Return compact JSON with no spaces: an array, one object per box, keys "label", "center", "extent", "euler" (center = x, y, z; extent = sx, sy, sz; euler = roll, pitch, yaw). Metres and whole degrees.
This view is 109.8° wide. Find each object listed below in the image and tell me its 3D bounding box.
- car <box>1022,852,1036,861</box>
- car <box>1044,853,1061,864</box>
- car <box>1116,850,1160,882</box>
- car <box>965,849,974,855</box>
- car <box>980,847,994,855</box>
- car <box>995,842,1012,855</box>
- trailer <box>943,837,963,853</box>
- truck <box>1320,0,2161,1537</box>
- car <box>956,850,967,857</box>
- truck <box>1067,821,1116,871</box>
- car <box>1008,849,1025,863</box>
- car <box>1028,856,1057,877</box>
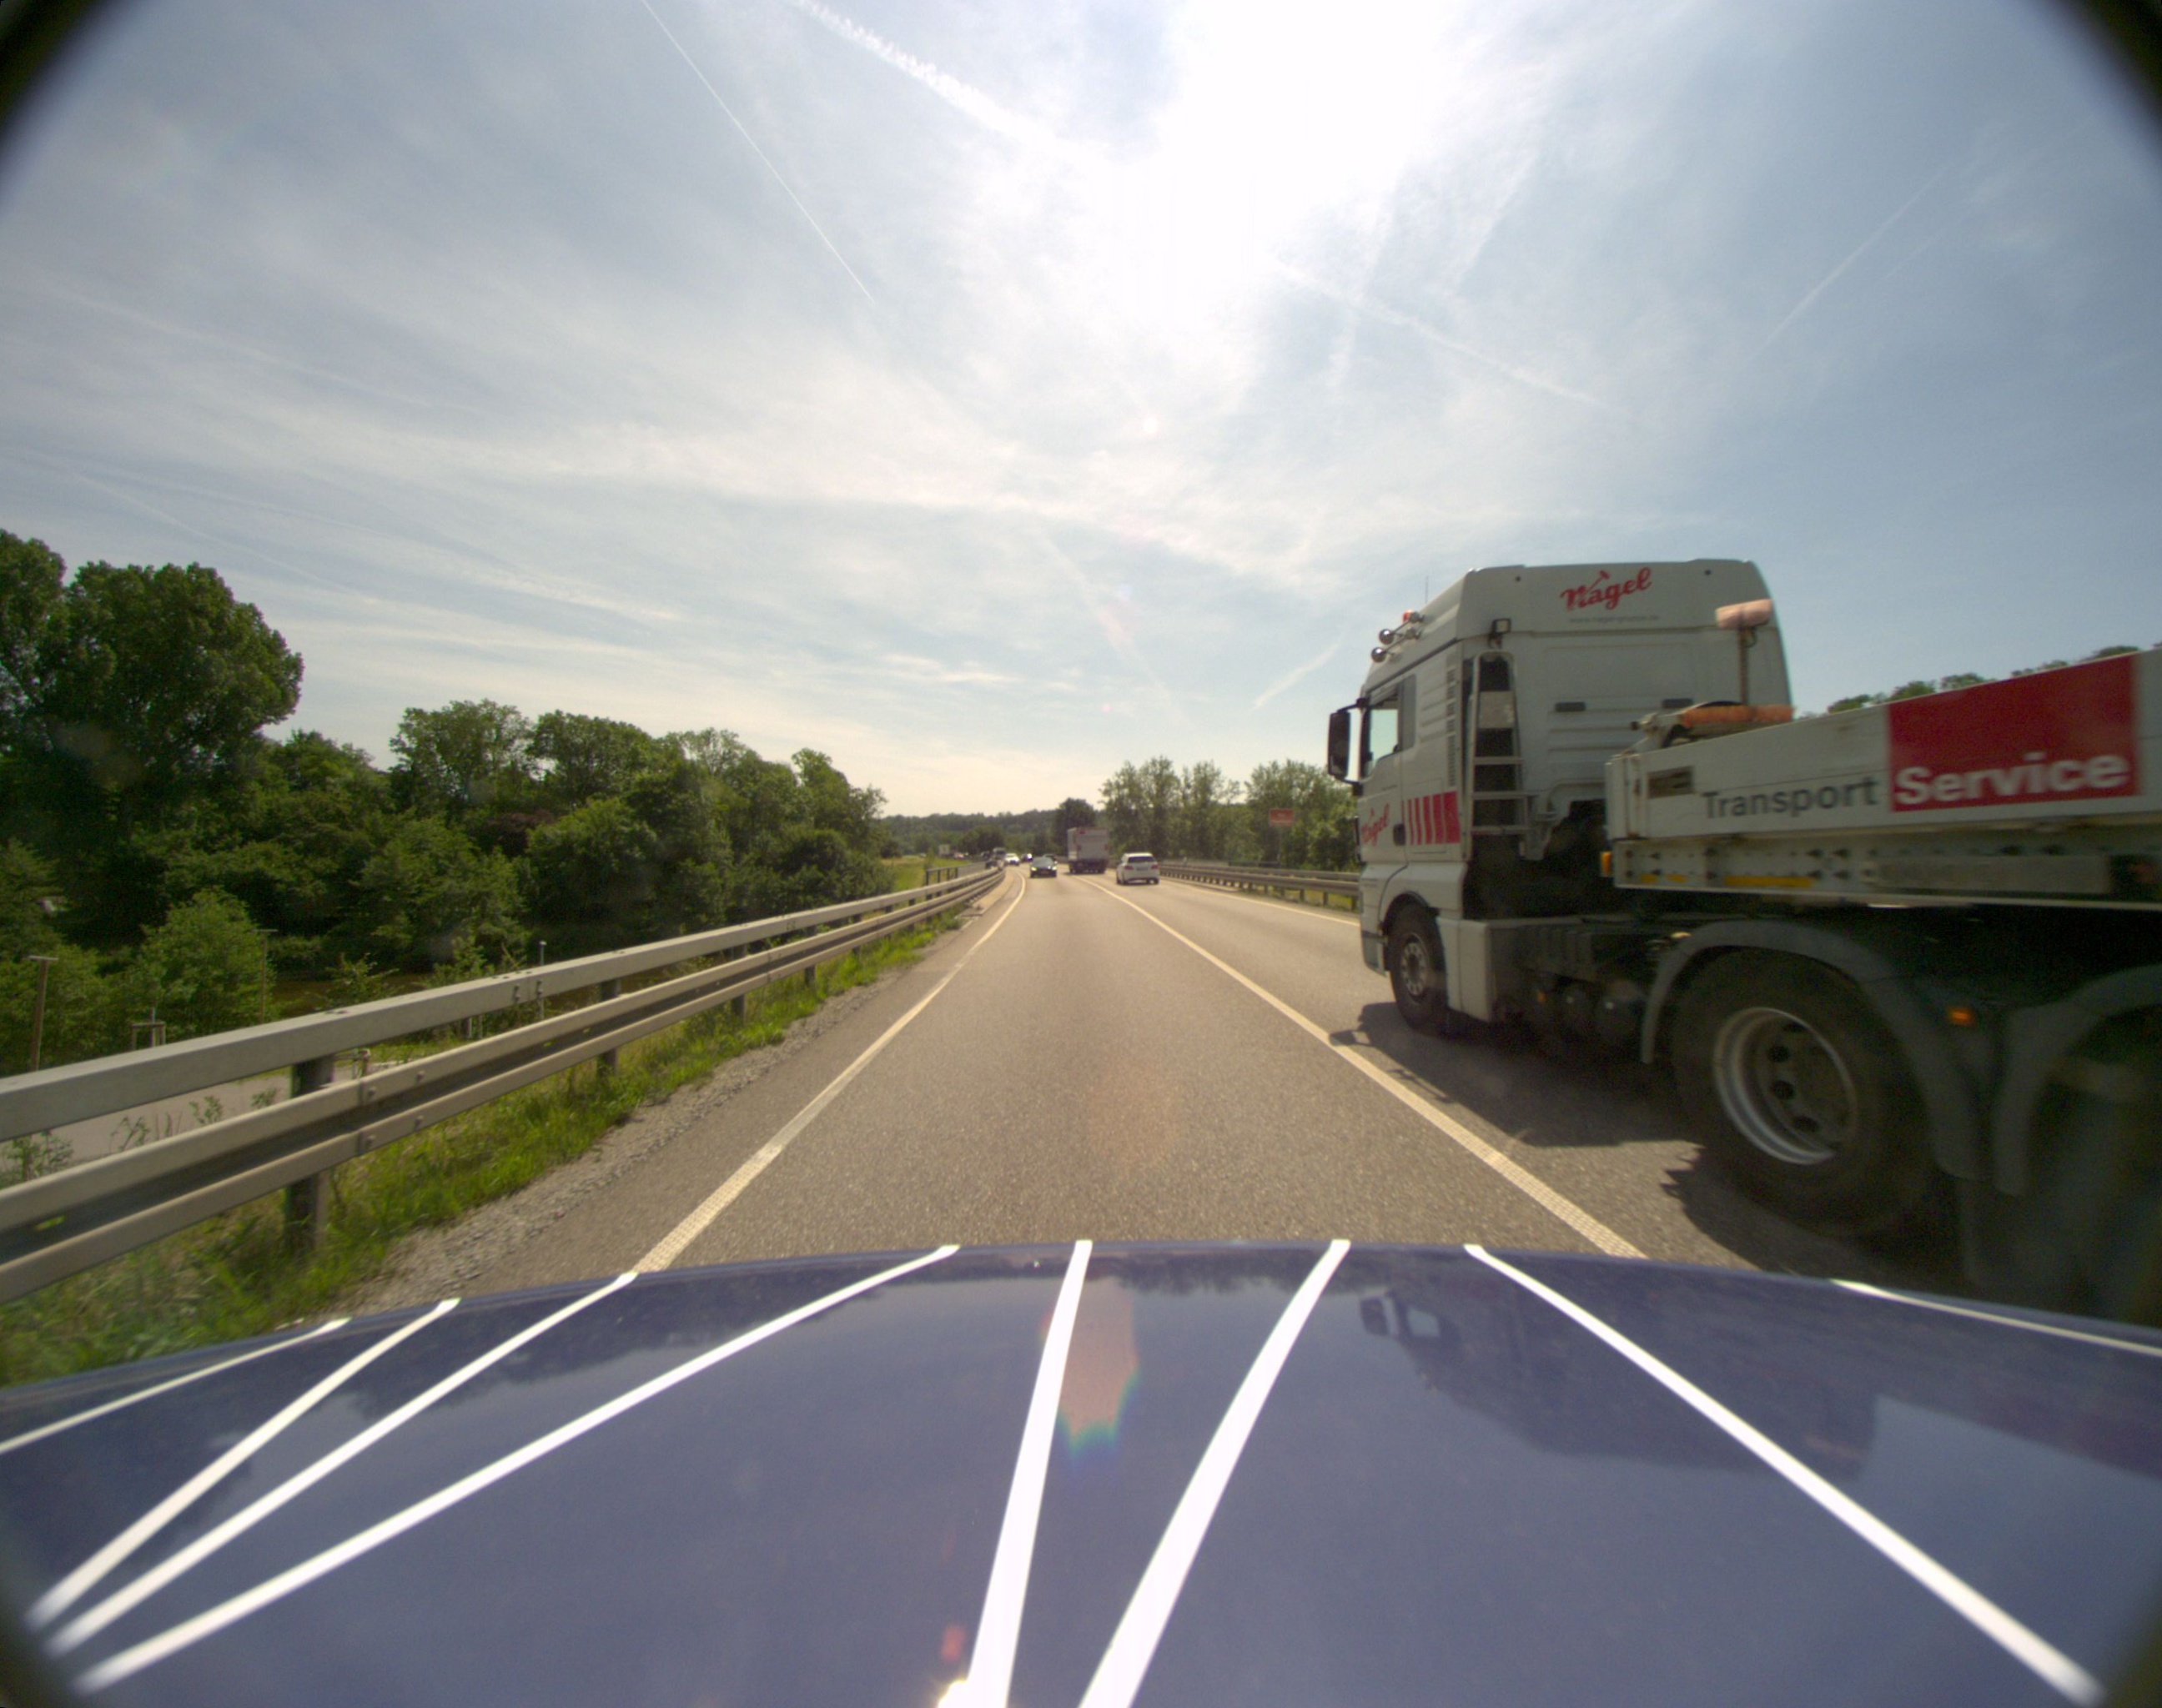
[{"label":"car","center":[-8.243,0.414,121.151],"extent":[1.726,1.427,4.613],"euler":[-2,1,-10]},{"label":"car","center":[-3.773,0.574,100.919],"extent":[1.726,1.474,4.566],"euler":[-2,1,-8]},{"label":"car","center":[2.863,0.607,39.037],"extent":[1.762,1.503,3.999],"euler":[-2,0,-2]},{"label":"car","center":[-29.520,-0.526,201.122],"extent":[1.668,1.449,3.887],"euler":[1,0,-21]},{"label":"car","center":[-21.405,-0.751,173.012],"extent":[1.860,1.788,4.967],"euler":[-2,2,-21]},{"label":"car","center":[-15.853,-1.163,154.904],"extent":[2.188,2.545,5.787],"euler":[-2,2,-17]},{"label":"trailer","center":[-37.422,-2.567,221.127],"extent":[2.865,4.163,14.471],"euler":[-2,0,-21]},{"label":"truck","center":[4.005,-0.475,4.473],"extent":[3.126,3.935,6.621],"euler":[-1,1,1]},{"label":"car","center":[-29.084,-0.069,184.928],"extent":[1.984,1.722,3.993],"euler":[-1,-1,-21]},{"label":"truck","center":[0.697,-0.608,62.542],"extent":[2.923,3.781,9.703],"euler":[-2,0,-5]},{"label":"car","center":[-8.714,0.215,102.296],"extent":[1.982,1.779,3.995],"euler":[-2,2,-10]},{"label":"car","center":[-2.776,0.862,53.919],"extent":[1.981,1.333,3.998],"euler":[-2,1,-4]}]
